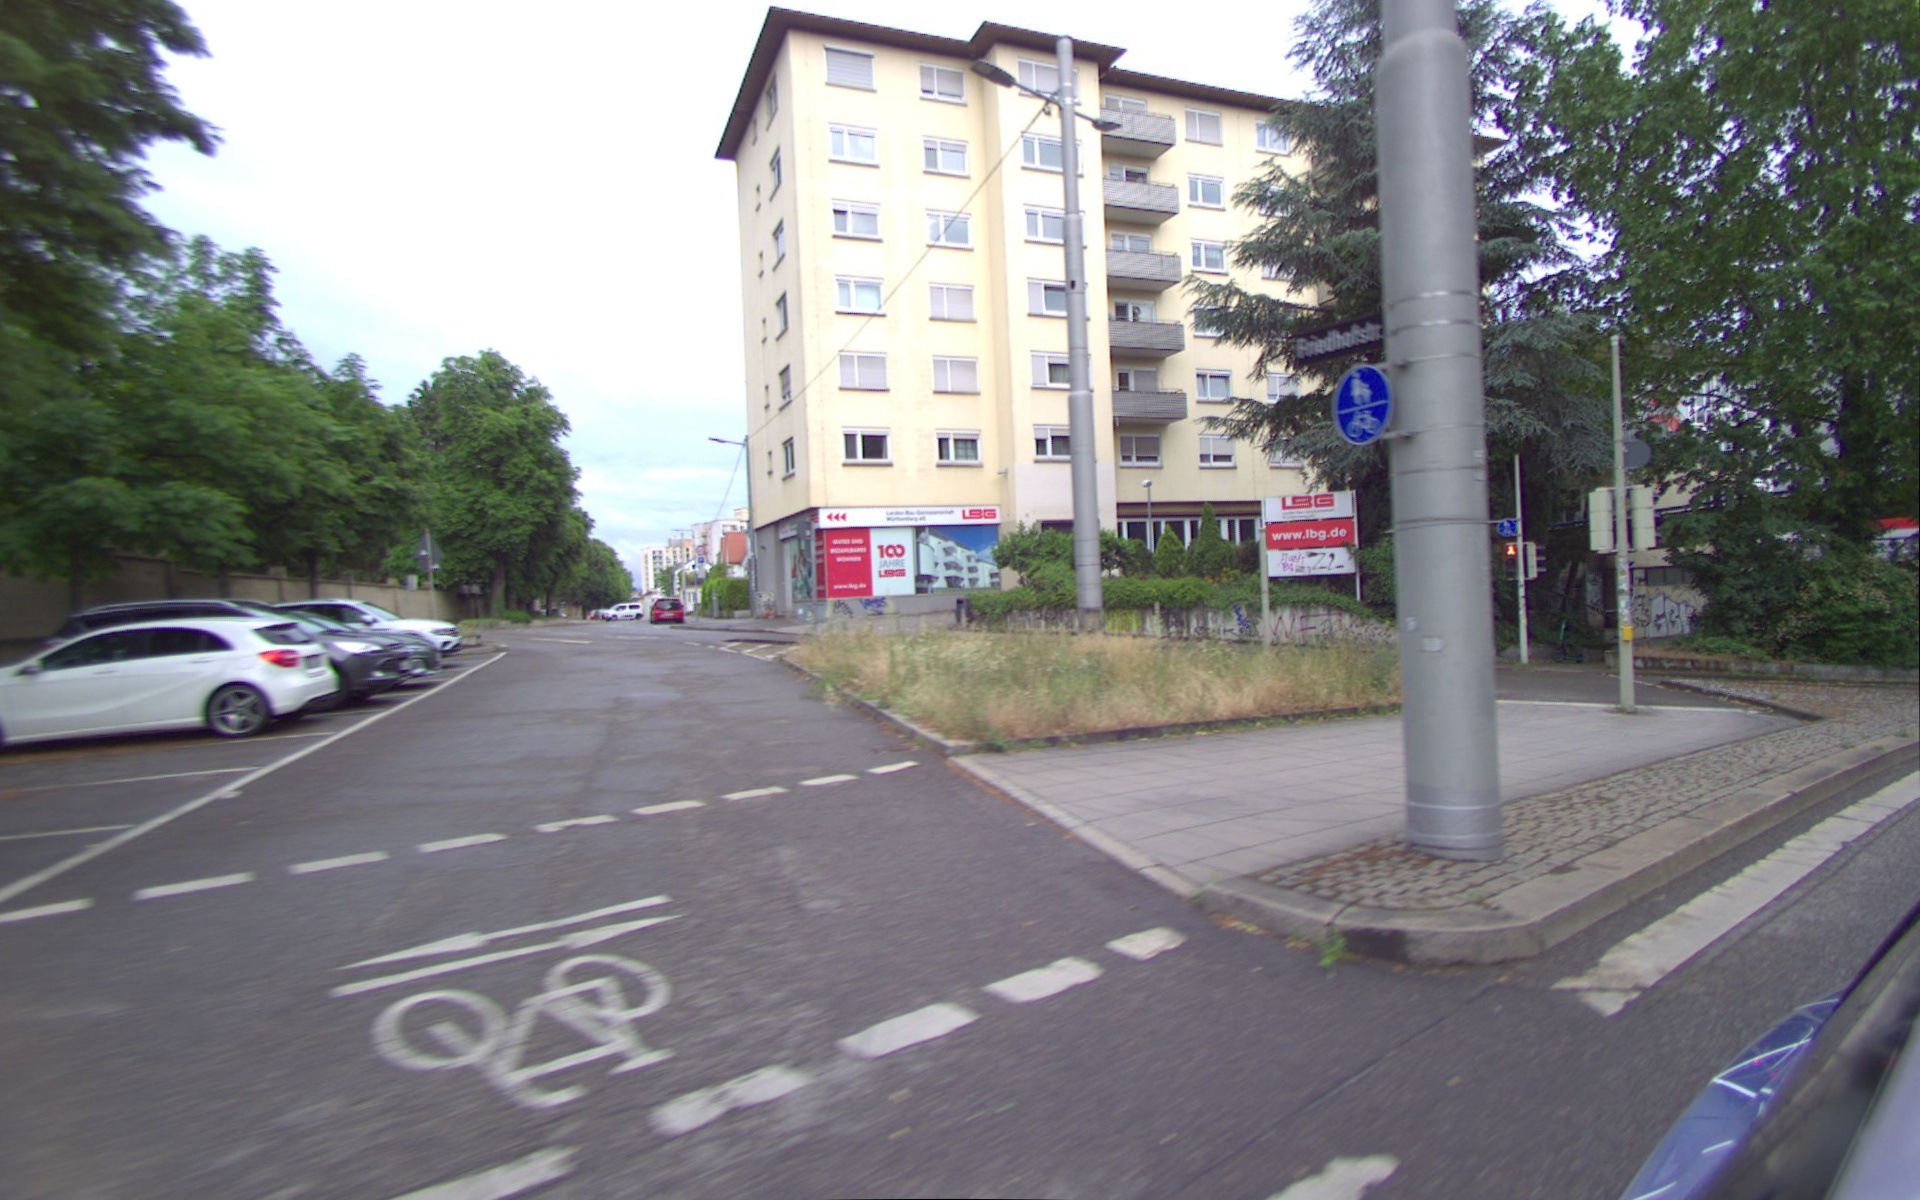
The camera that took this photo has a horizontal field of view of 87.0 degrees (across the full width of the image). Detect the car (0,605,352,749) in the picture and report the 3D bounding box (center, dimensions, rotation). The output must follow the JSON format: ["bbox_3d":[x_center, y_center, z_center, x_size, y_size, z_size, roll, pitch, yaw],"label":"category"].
[{"bbox_3d":[-9.964,0.888,12.412,3.917,1.423,1.762,-3,1,-16],"label":"car"}]

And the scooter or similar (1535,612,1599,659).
[{"bbox_3d":[16.492,0.953,27.469,1.880,1.233,0.602,1,0,-28],"label":"scooter or similar"}]

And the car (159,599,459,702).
[{"bbox_3d":[-10.967,0.792,17.363,3.917,1.408,1.793,-3,1,-16],"label":"car"}]

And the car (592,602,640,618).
[{"bbox_3d":[-36.428,1.036,107.208,4.422,1.530,1.796,-1,-3,-41],"label":"car"}]

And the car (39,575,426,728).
[{"bbox_3d":[-10.369,0.664,14.805,4.185,1.825,1.762,-3,1,-16],"label":"car"}]

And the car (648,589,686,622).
[{"bbox_3d":[-16.441,0.278,56.610,1.812,1.773,4.008,1,0,-19],"label":"car"}]

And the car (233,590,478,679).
[{"bbox_3d":[-12.854,0.684,21.811,4.131,1.576,1.793,-3,1,-16],"label":"car"}]
